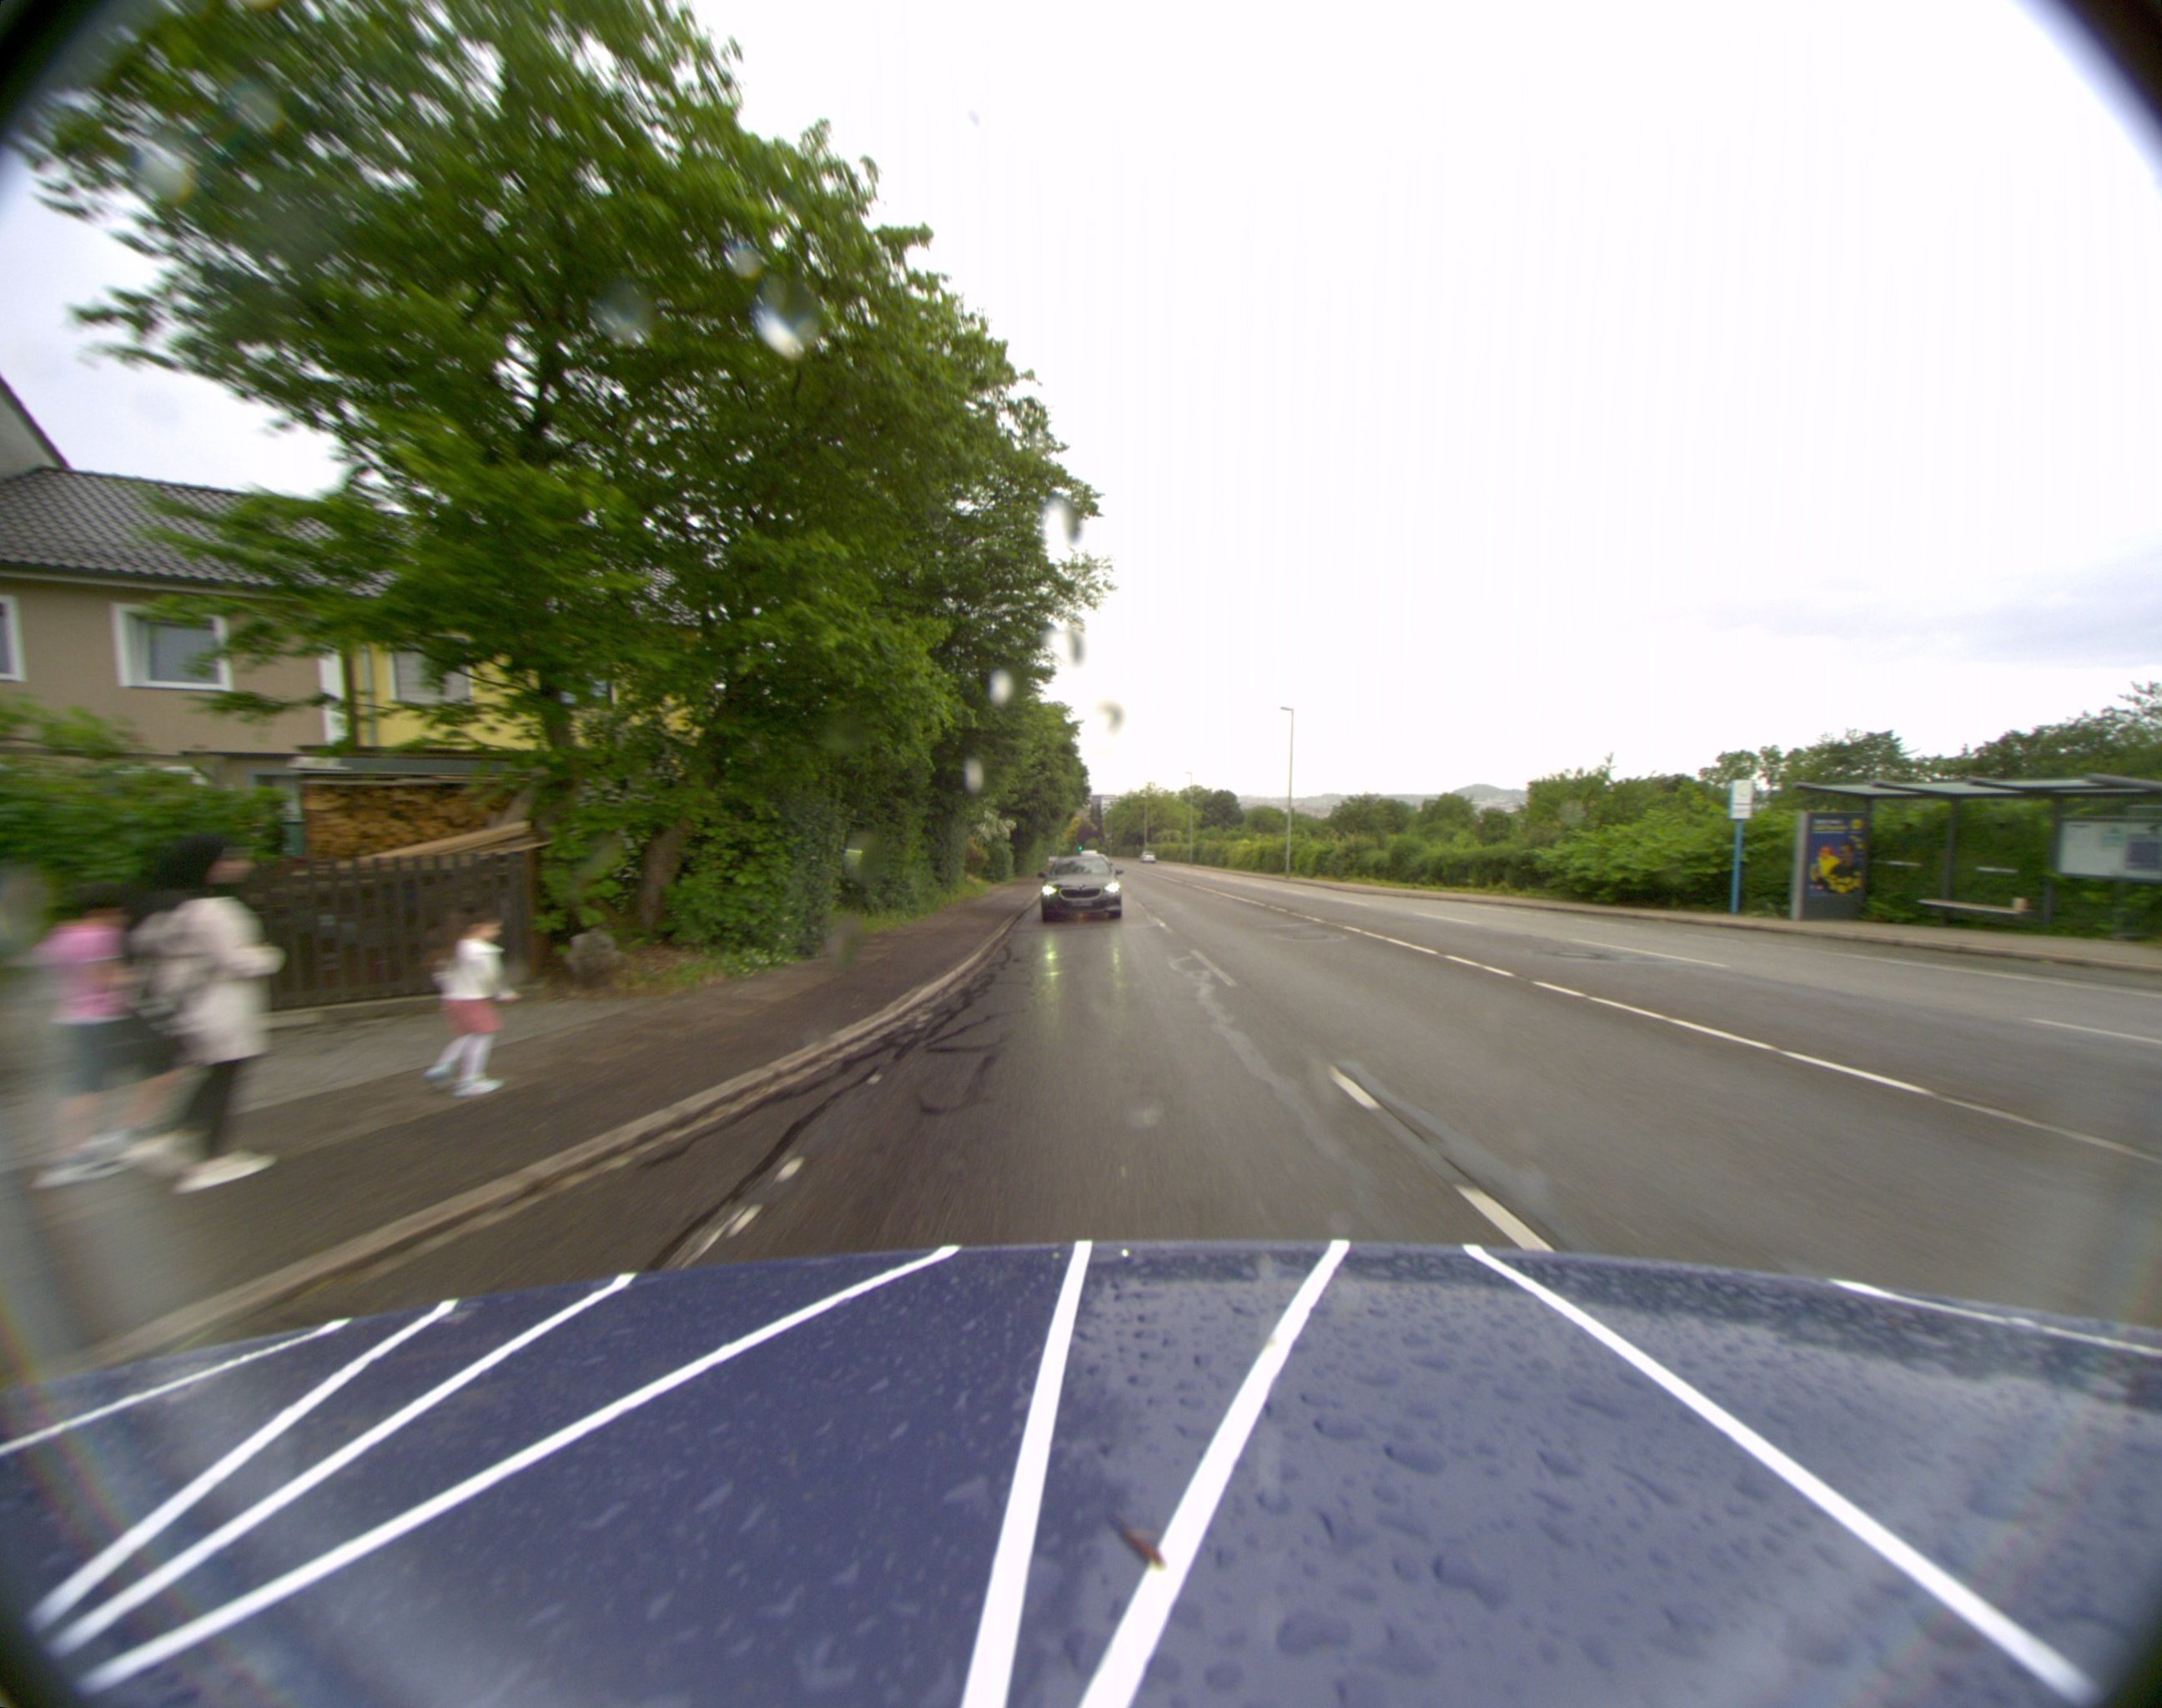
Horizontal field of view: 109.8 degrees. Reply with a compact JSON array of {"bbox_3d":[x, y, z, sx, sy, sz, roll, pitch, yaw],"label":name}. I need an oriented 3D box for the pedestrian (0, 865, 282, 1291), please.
[{"bbox_3d":[-4.023,0.845,3.201,0.611,1.584,0.646,0,1,9],"label":"pedestrian"}]

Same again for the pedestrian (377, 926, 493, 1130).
[{"bbox_3d":[-3.886,1.022,4.587,0.368,1.140,0.366,0,1,9],"label":"pedestrian"}]

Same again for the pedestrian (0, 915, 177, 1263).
[{"bbox_3d":[-4.618,0.970,3.299,0.603,1.347,0.646,0,1,9],"label":"pedestrian"}]

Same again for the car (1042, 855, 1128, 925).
[{"bbox_3d":[-0.026,0.808,19.126,1.846,1.371,4.280,-3,2,-3],"label":"car"}]

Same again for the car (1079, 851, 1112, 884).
[{"bbox_3d":[0.766,0.640,38.319,1.550,1.505,4.283,0,1,2],"label":"car"}]

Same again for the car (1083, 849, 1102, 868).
[{"bbox_3d":[1.107,0.406,71.016,1.703,1.670,4.283,0,1,1],"label":"car"}]

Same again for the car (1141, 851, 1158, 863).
[{"bbox_3d":[9.273,0.388,103.232,1.761,1.559,3.999,1,1,-1],"label":"car"}]
